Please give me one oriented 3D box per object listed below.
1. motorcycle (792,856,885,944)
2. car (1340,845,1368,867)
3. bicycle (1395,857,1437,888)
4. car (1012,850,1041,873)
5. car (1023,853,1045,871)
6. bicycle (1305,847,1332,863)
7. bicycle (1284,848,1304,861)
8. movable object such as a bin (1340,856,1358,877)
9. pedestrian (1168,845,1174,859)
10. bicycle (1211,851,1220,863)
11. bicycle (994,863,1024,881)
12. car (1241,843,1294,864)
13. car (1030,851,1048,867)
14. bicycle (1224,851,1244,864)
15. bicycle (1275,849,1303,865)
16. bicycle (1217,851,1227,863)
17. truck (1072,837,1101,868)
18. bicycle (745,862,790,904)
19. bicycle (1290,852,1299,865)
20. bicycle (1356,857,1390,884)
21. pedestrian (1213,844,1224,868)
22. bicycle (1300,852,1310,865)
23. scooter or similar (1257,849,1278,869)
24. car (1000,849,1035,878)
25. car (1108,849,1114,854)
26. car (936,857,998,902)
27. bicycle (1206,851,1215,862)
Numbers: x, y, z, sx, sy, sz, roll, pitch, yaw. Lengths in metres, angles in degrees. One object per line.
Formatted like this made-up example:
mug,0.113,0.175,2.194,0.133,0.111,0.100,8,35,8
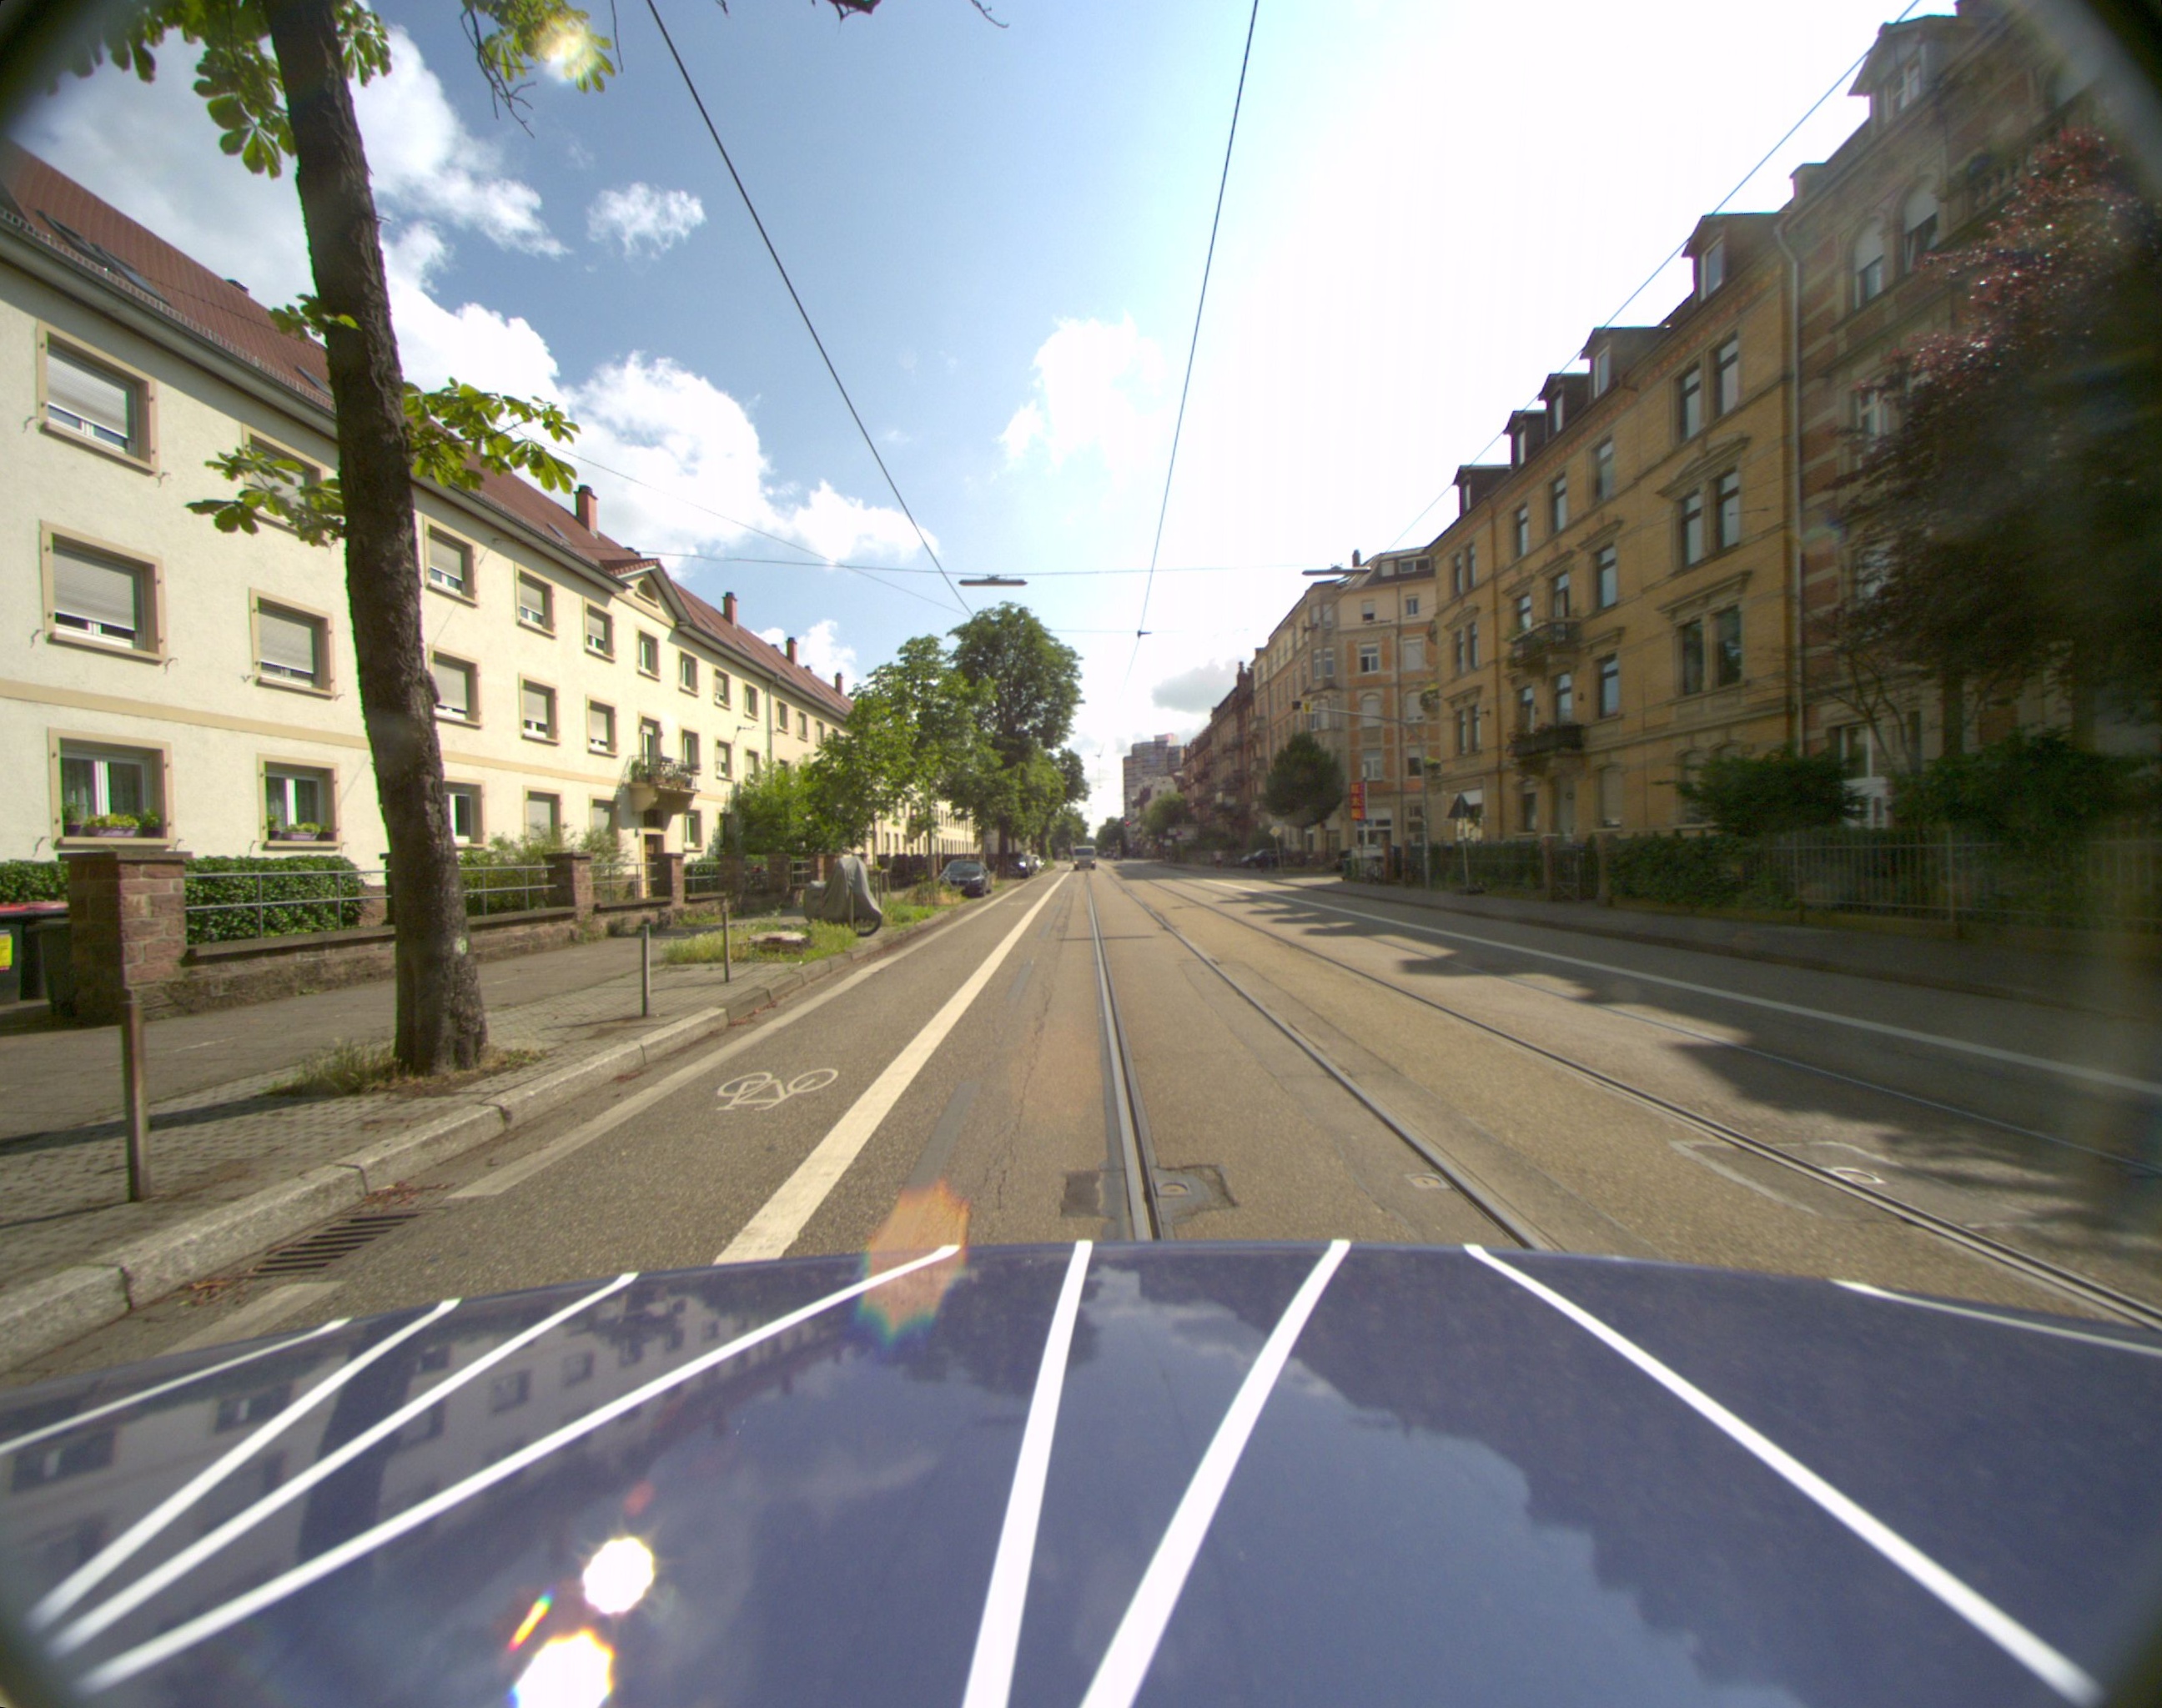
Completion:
motorcycle,-4.813,0.868,14.987,2.380,1.588,0.680,-1,1,45
car,17.942,0.095,49.934,1.641,1.352,3.932,-1,0,19
bicycle,11.110,0.592,25.253,0.531,0.941,1.967,-2,1,0
car,-4.259,0.530,59.685,1.867,1.643,4.637,-2,1,0
car,-4.390,0.720,71.139,1.746,1.572,4.248,-2,0,-1
bicycle,16.478,0.076,52.717,1.695,1.057,0.525,-2,0,11
bicycle,16.652,0.045,59.415,1.456,0.971,0.404,-1,1,0
movable object such as a bin,11.694,0.551,33.155,0.526,0.900,0.636,-1,1,-1
pedestrian,11.116,-0.285,94.217,0.489,1.693,1.151,-2,1,-2
bicycle,11.270,0.241,63.770,0.422,0.971,1.949,-2,1,0
bicycle,-4.294,1.059,45.210,1.712,1.001,0.638,-1,1,1
car,14.042,-0.022,57.433,3.611,1.395,1.787,-2,0,4
car,-4.341,0.479,79.585,1.665,1.512,4.287,-2,0,-1
bicycle,11.876,0.293,59.075,1.456,0.971,0.404,-1,1,0
bicycle,14.612,0.197,53.332,1.759,1.057,0.524,-2,0,-5
bicycle,11.331,0.236,61.153,0.422,0.971,1.949,-2,1,0
truck,0.442,-0.155,71.911,2.532,2.722,6.514,-2,0,-1
bicycle,-9.659,0.860,23.473,0.601,1.204,1.704,-2,1,1
bicycle,14.432,0.306,51.343,0.524,0.833,1.700,-2,0,13
bicycle,11.088,0.609,28.888,0.531,0.941,1.967,-2,1,0
pedestrian,9.931,0.139,54.882,0.534,1.750,1.105,-4,1,0
bicycle,14.969,0.322,50.838,0.524,0.833,1.700,-2,0,13
scooter or similar,12.428,0.324,50.691,1.367,1.228,0.403,-3,1,-28
car,-4.132,0.573,50.200,1.832,1.772,4.732,-1,0,0
car,10.355,-0.900,258.601,1.841,1.482,3.891,-2,0,0
car,-4.405,0.956,29.998,1.710,1.470,4.196,-4,1,0
bicycle,11.410,0.236,66.950,0.422,0.927,1.949,-2,1,0
